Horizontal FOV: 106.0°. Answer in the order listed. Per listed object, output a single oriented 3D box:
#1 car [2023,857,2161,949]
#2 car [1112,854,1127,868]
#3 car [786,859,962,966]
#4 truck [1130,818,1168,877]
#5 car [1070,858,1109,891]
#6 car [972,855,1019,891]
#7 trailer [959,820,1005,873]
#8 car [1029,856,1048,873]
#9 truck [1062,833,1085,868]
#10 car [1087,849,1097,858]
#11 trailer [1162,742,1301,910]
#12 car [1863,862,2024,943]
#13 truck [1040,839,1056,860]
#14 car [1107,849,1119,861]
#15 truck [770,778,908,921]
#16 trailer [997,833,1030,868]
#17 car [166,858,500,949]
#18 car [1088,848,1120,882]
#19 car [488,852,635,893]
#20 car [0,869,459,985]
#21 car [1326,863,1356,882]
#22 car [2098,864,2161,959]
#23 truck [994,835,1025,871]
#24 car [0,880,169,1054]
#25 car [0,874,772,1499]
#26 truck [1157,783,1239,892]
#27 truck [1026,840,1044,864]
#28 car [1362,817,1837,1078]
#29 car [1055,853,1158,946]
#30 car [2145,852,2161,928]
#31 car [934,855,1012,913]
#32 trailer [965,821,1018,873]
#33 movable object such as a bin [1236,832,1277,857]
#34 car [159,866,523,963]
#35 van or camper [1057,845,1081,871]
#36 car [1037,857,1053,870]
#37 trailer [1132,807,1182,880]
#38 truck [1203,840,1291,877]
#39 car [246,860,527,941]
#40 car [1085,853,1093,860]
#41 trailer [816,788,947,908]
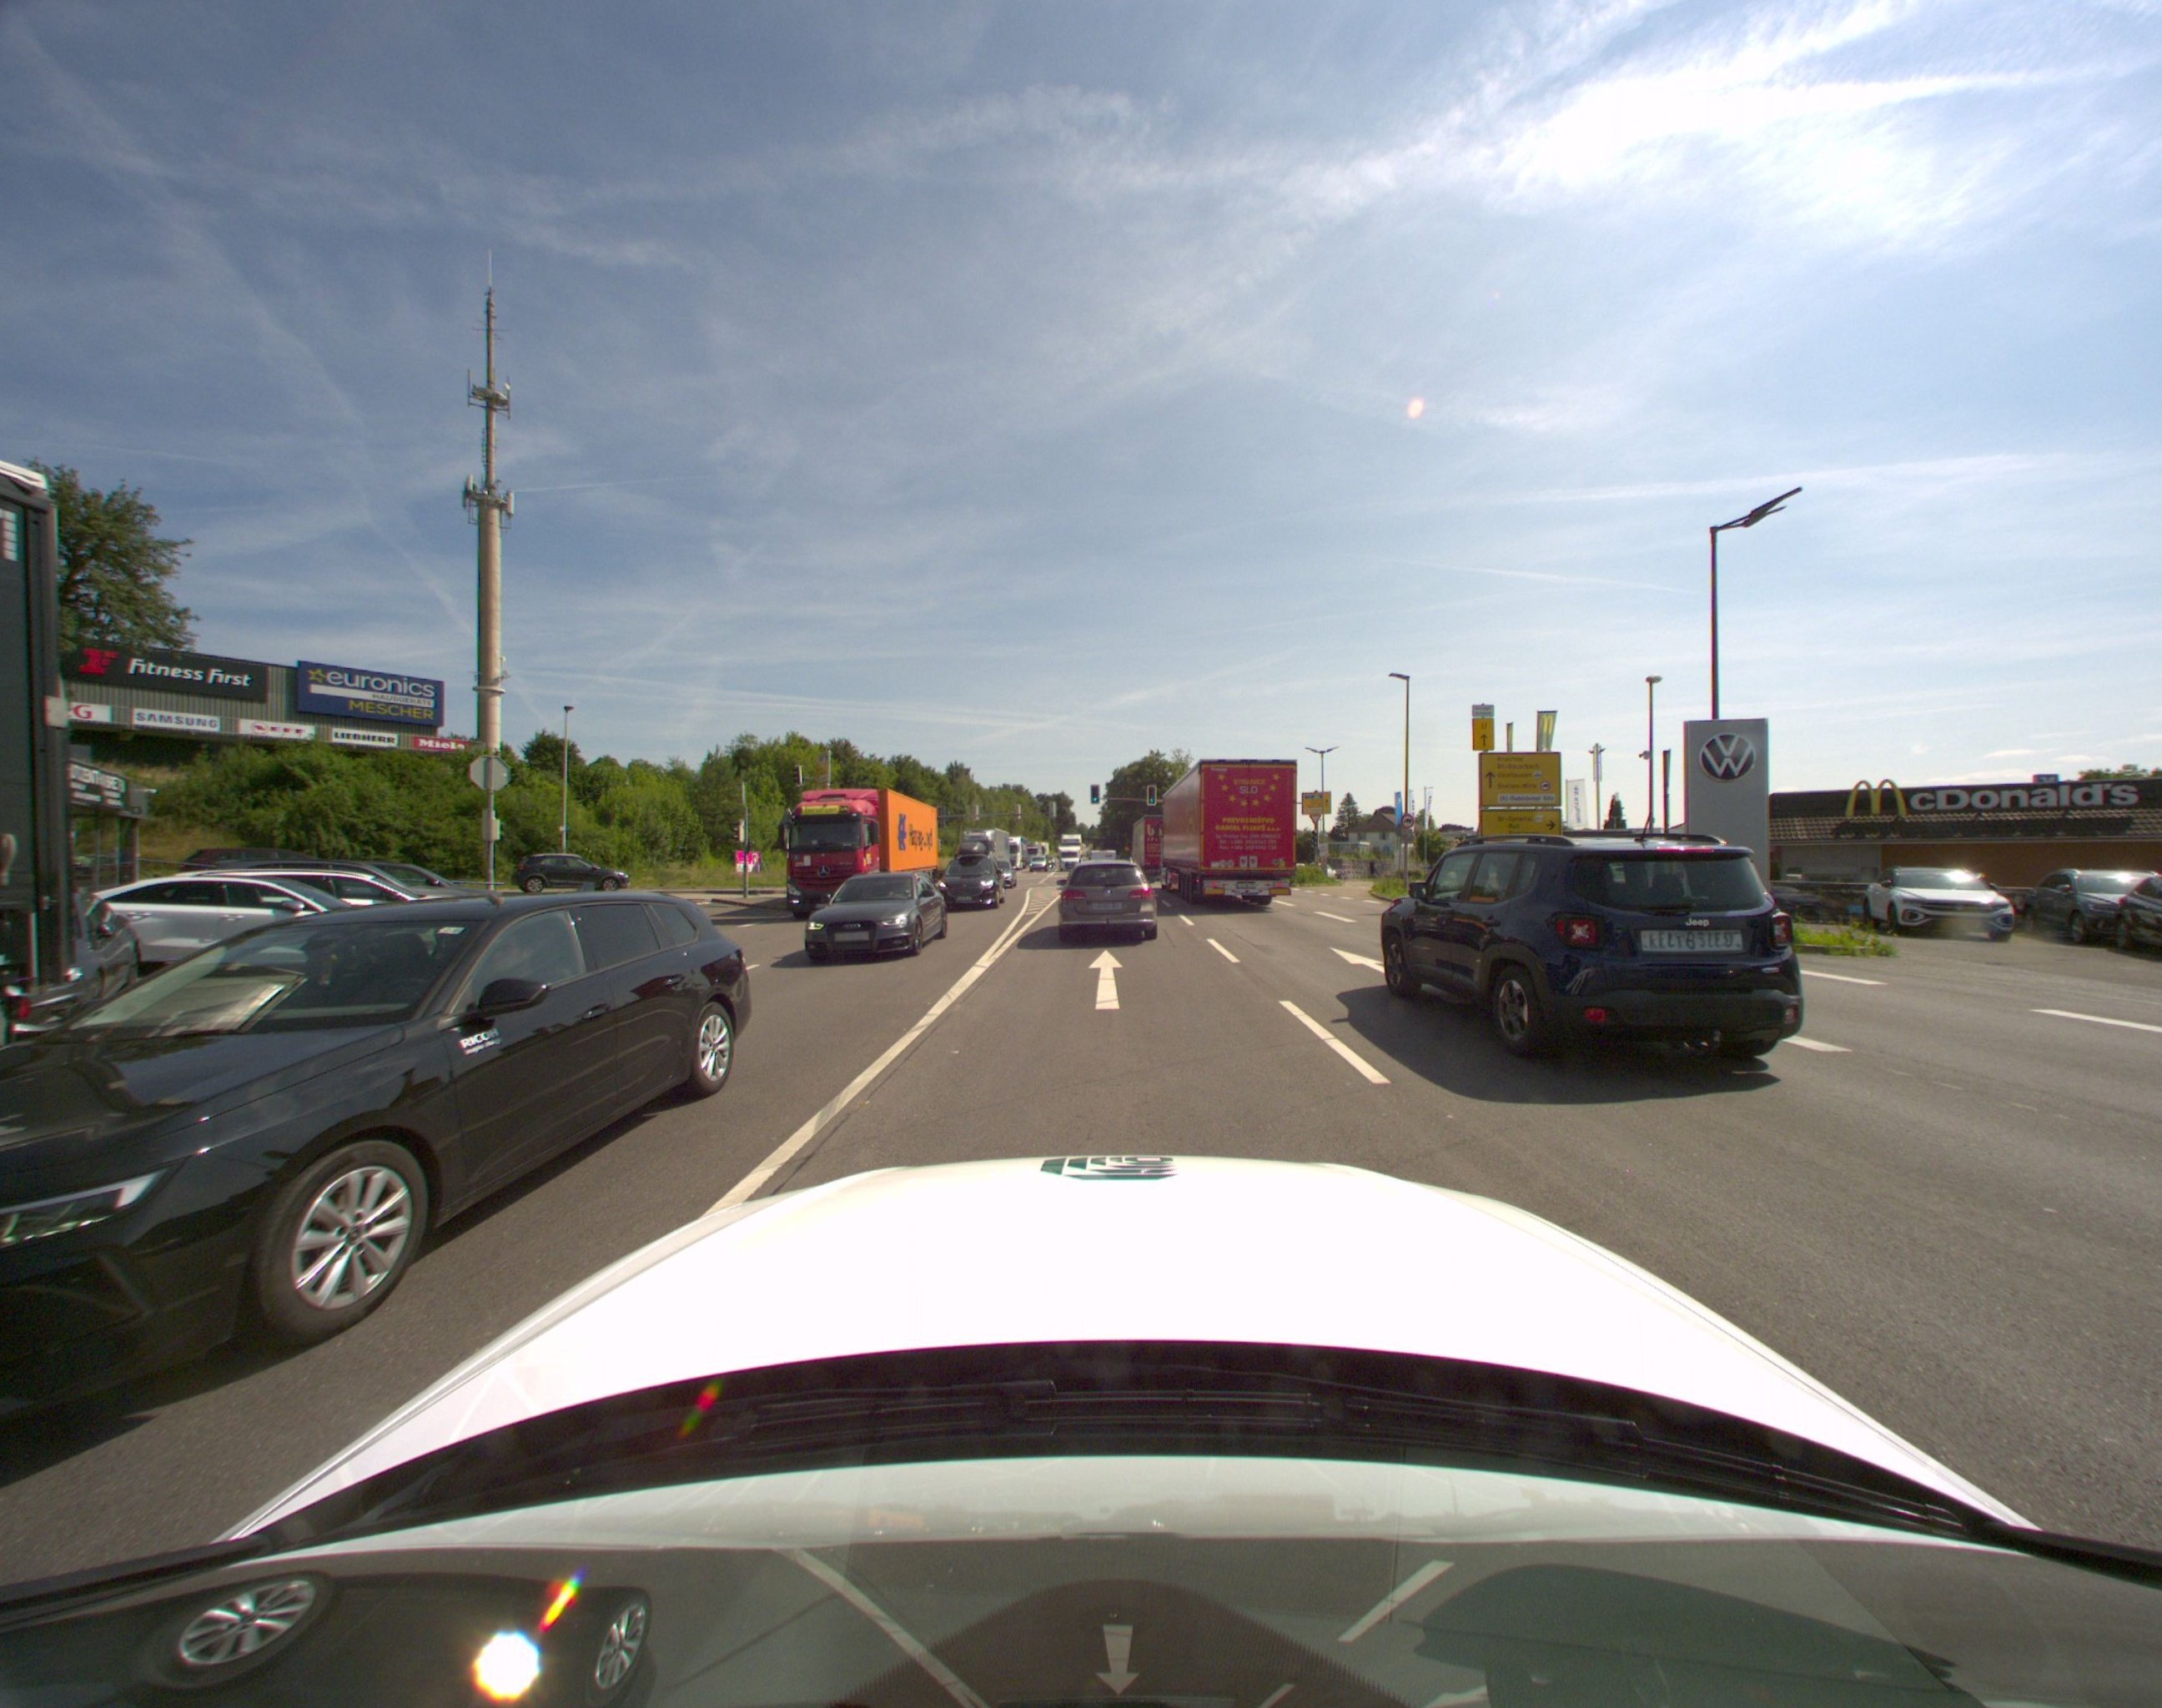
[{"bbox_3d":[21.762,0.952,17.110,1.753,1.671,3.935,-2,0,37],"label":"car"},{"bbox_3d":[5.680,0.999,121.650,1.987,2.013,3.999,-1,0,-1],"label":"car"},{"bbox_3d":[-3.519,0.912,14.847,1.854,1.524,4.590,-2,0,2],"label":"car"},{"bbox_3d":[5.040,-0.463,61.014,2.397,4.128,5.523,-1,0,1],"label":"truck"},{"bbox_3d":[0.358,0.961,39.830,1.765,1.513,3.998,-1,0,-1],"label":"car"},{"bbox_3d":[-4.349,0.936,42.227,1.915,1.602,4.587,-3,0,-1],"label":"car"},{"bbox_3d":[-7.988,-0.568,66.465,2.635,4.105,6.183,-1,0,2],"label":"trailer"},{"bbox_3d":[-4.541,1.063,87.374,1.837,1.732,4.587,0,0,-1],"label":"car"},{"bbox_3d":[-0.958,-0.347,99.576,2.530,4.088,6.262,-1,0,-1],"label":"truck"},{"bbox_3d":[2.429,-0.080,180.237,1.987,2.013,3.999,-1,0,-1],"label":"car"},{"bbox_3d":[4.591,-0.719,27.857,2.828,4.365,13.175,1,0,2],"label":"trailer"},{"bbox_3d":[19.830,1.021,18.933,1.837,1.576,4.260,-2,0,37],"label":"car"},{"bbox_3d":[-6.711,-0.924,166.784,2.821,4.116,9.677,-1,0,-1],"label":"truck"},{"bbox_3d":[5.878,0.162,148.498,1.987,2.013,3.999,-1,0,-1],"label":"car"},{"bbox_3d":[-7.486,-0.119,26.084,2.714,3.998,6.052,-1,0,-2],"label":"truck"},{"bbox_3d":[-8.571,-0.409,104.971,3.084,4.079,14.122,-1,0,0],"label":"trailer"},{"bbox_3d":[-15.098,0.978,16.857,4.821,1.626,1.909,3,-2,-40],"label":"car"},{"bbox_3d":[1.372,0.665,50.292,1.765,1.936,3.976,-1,0,-1],"label":"car"},{"bbox_3d":[-20.724,0.770,32.619,4.661,1.527,1.892,3,-1,-43],"label":"car"},{"bbox_3d":[-12.748,1.044,12.617,4.732,1.475,1.874,2,-1,-32],"label":"car"},{"bbox_3d":[23.402,1.674,73.306,1.758,1.575,3.731,2,0,30],"label":"car"},{"bbox_3d":[19.392,0.987,13.771,1.753,1.532,4.116,-2,0,37],"label":"car"},{"bbox_3d":[-8.559,-0.118,97.920,3.178,4.079,6.343,-1,0,-1],"label":"truck"},{"bbox_3d":[-11.706,1.100,8.948,4.583,1.436,1.986,1,0,45],"label":"car"},{"bbox_3d":[-3.306,0.914,4.188,1.706,1.443,4.377,-3,0,0],"label":"car"},{"bbox_3d":[4.890,-0.660,35.068,2.859,4.281,5.842,1,0,2],"label":"truck"},{"bbox_3d":[-8.257,-0.338,147.883,2.721,3.999,9.616,-1,0,-1],"label":"truck"},{"bbox_3d":[4.053,0.613,7.290,1.764,1.654,4.001,-1,0,2],"label":"car"},{"bbox_3d":[0.408,0.777,15.637,1.686,1.513,3.998,-1,0,-1],"label":"car"},{"bbox_3d":[23.715,0.795,16.351,1.753,1.671,4.197,-2,0,37],"label":"car"},{"bbox_3d":[-3.406,0.892,26.479,1.902,1.602,4.587,-3,0,-1],"label":"car"},{"bbox_3d":[-7.785,-0.550,73.103,2.681,4.147,13.884,-1,0,2],"label":"trailer"},{"bbox_3d":[24.122,-1.262,111.461,2.863,3.208,6.748,-2,0,37],"label":"movable object such as a bin"},{"bbox_3d":[-13.397,1.058,15.219,4.739,1.513,1.933,3,-1,-39],"label":"car"},{"bbox_3d":[-1.230,0.385,85.857,2.322,2.600,6.978,-1,0,0],"label":"van or camper"},{"bbox_3d":[-4.606,1.192,104.177,1.989,1.485,4.449,-1,0,-3],"label":"car"},{"bbox_3d":[4.884,-0.614,54.390,2.386,4.243,13.082,-1,0,2],"label":"trailer"},{"bbox_3d":[19.053,0.574,93.560,9.692,3.628,2.751,4,-2,-17],"label":"truck"},{"bbox_3d":[-16.008,1.043,19.058,4.767,1.626,1.867,3,-1,-42],"label":"car"},{"bbox_3d":[2.079,0.660,216.153,1.987,2.013,3.999,-1,0,-1],"label":"car"},{"bbox_3d":[-7.742,-0.173,33.642,2.714,3.998,12.224,-1,0,-2],"label":"trailer"}]
